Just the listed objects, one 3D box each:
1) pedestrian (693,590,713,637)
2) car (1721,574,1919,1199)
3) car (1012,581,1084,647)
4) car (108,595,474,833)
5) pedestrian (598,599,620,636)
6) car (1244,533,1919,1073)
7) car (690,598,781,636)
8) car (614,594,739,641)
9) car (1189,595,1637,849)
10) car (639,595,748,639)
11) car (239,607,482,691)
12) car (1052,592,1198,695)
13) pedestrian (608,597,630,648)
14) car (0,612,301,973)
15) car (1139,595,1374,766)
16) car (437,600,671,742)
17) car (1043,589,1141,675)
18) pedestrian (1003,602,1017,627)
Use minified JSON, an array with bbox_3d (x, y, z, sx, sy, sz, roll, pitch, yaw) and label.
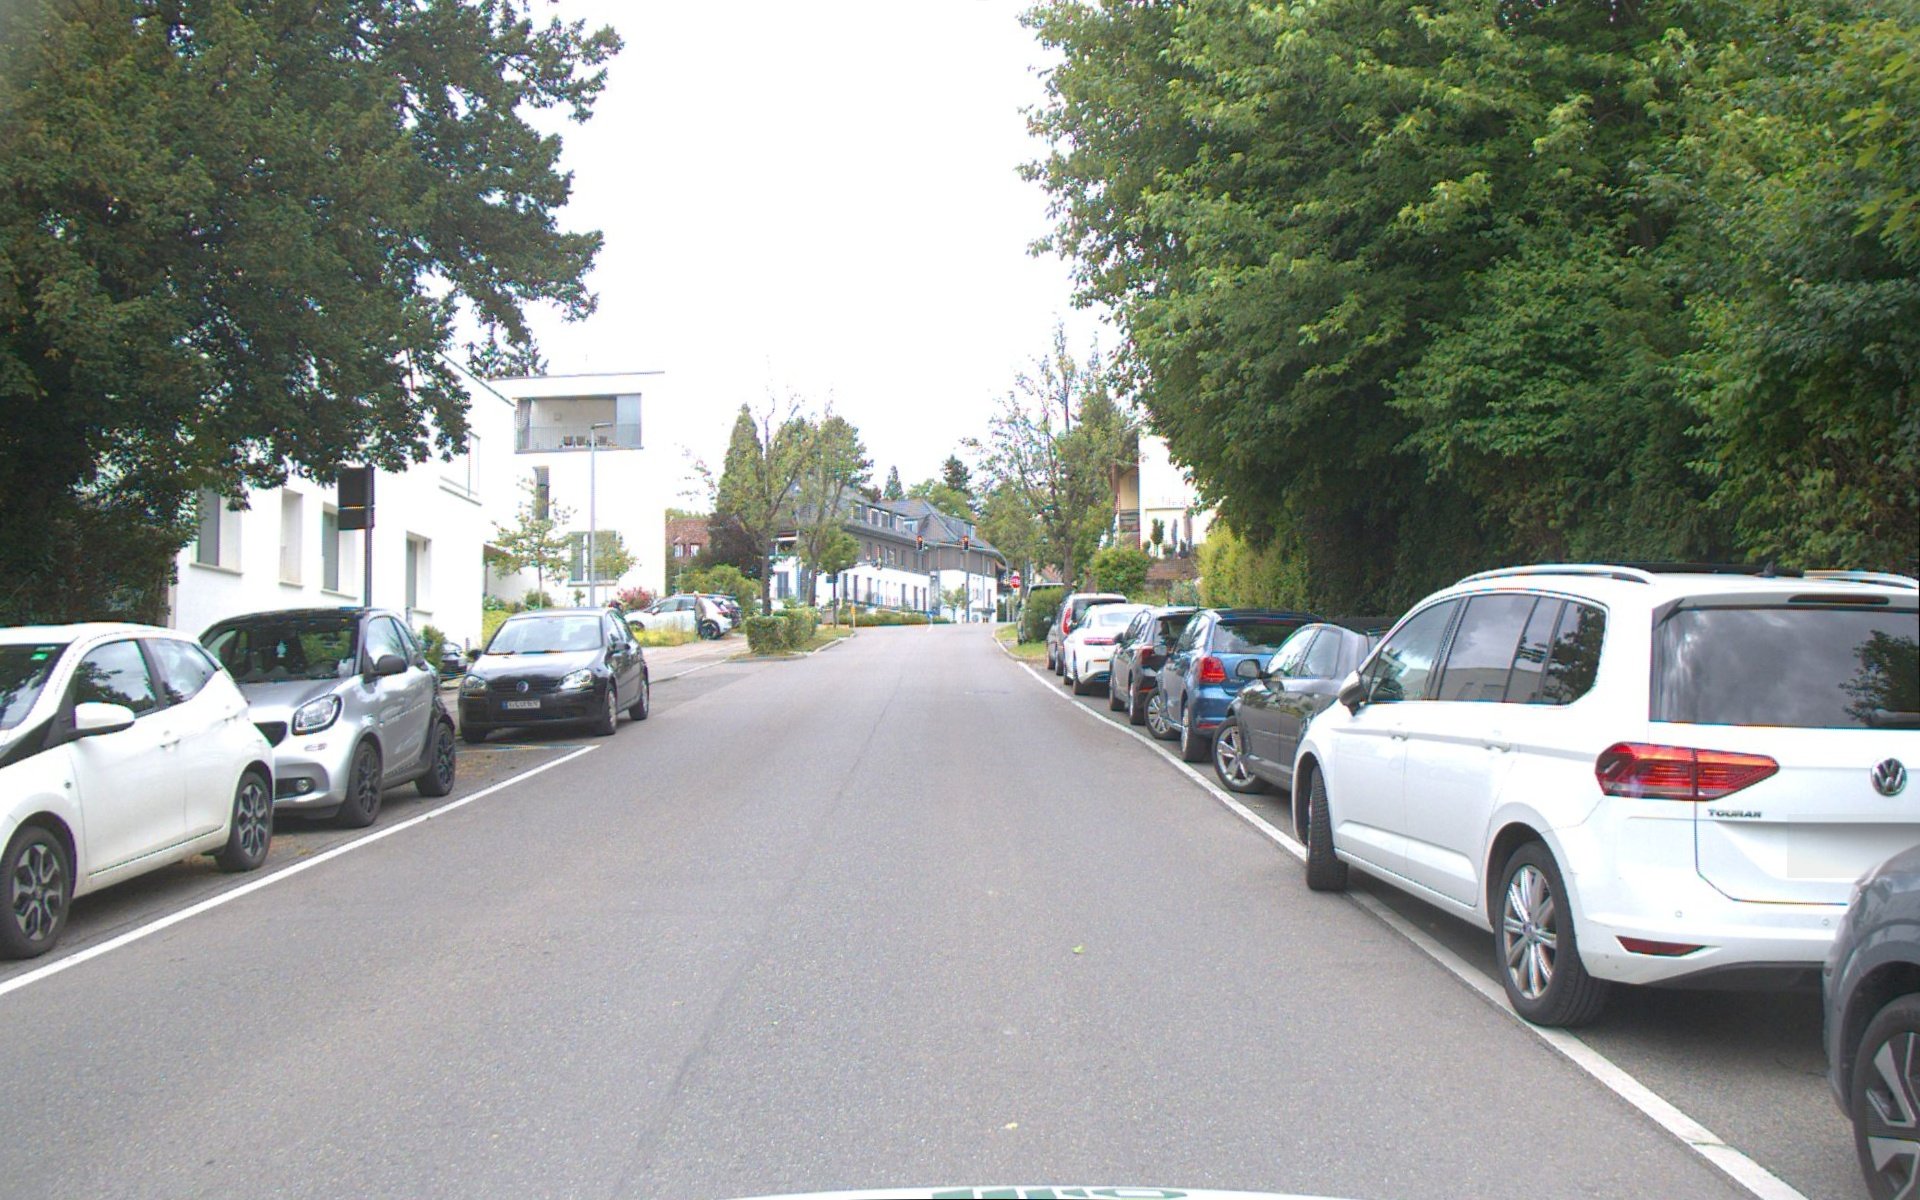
[{"bbox_3d":[-9.262,0.496,59.664,0.581,1.669,0.565,-2,0,0],"label":"pedestrian"},{"bbox_3d":[3.238,0.676,2.609,1.898,1.517,4.455,-2,0,-2],"label":"car"},{"bbox_3d":[2.639,0.418,50.583,1.896,1.870,5.218,-1,0,0],"label":"car"},{"bbox_3d":[-4.872,0.769,12.455,1.591,1.545,2.974,-1,-1,-2],"label":"car"},{"bbox_3d":[-12.572,0.634,59.327,0.594,1.305,0.899,0,0,-1],"label":"pedestrian"},{"bbox_3d":[2.886,0.606,7.549,1.962,1.637,4.753,-2,0,-5],"label":"car"},{"bbox_3d":[-10.898,0.843,80.523,4.175,1.652,2.012,-2,-1,-4],"label":"car"},{"bbox_3d":[-10.540,0.652,61.691,4.298,1.594,2.065,-2,0,-2],"label":"car"},{"bbox_3d":[3.064,0.747,12.222,1.774,1.478,4.374,-1,0,-5],"label":"car"},{"bbox_3d":[-10.324,0.657,64.306,3.905,1.682,2.008,0,0,0],"label":"car"},{"bbox_3d":[-10.610,0.840,29.491,3.721,1.378,1.739,-1,0,-6],"label":"car"},{"bbox_3d":[2.681,0.662,27.971,1.953,1.517,5.004,-2,0,0],"label":"car"},{"bbox_3d":[-11.576,0.773,56.150,0.576,1.711,0.519,-1,0,1],"label":"pedestrian"},{"bbox_3d":[-4.864,0.853,8.275,1.709,1.473,3.512,-3,0,-1],"label":"car"},{"bbox_3d":[2.934,0.738,17.194,1.663,1.534,4.159,1,0,0],"label":"car"},{"bbox_3d":[-4.812,0.770,20.296,1.813,1.495,4.681,-2,0,-2],"label":"car"},{"bbox_3d":[2.677,0.630,34.218,1.682,1.661,3.928,1,0,0],"label":"car"},{"bbox_3d":[3.421,0.994,112.827,0.672,1.711,0.698,-1,-1,34],"label":"pedestrian"}]
